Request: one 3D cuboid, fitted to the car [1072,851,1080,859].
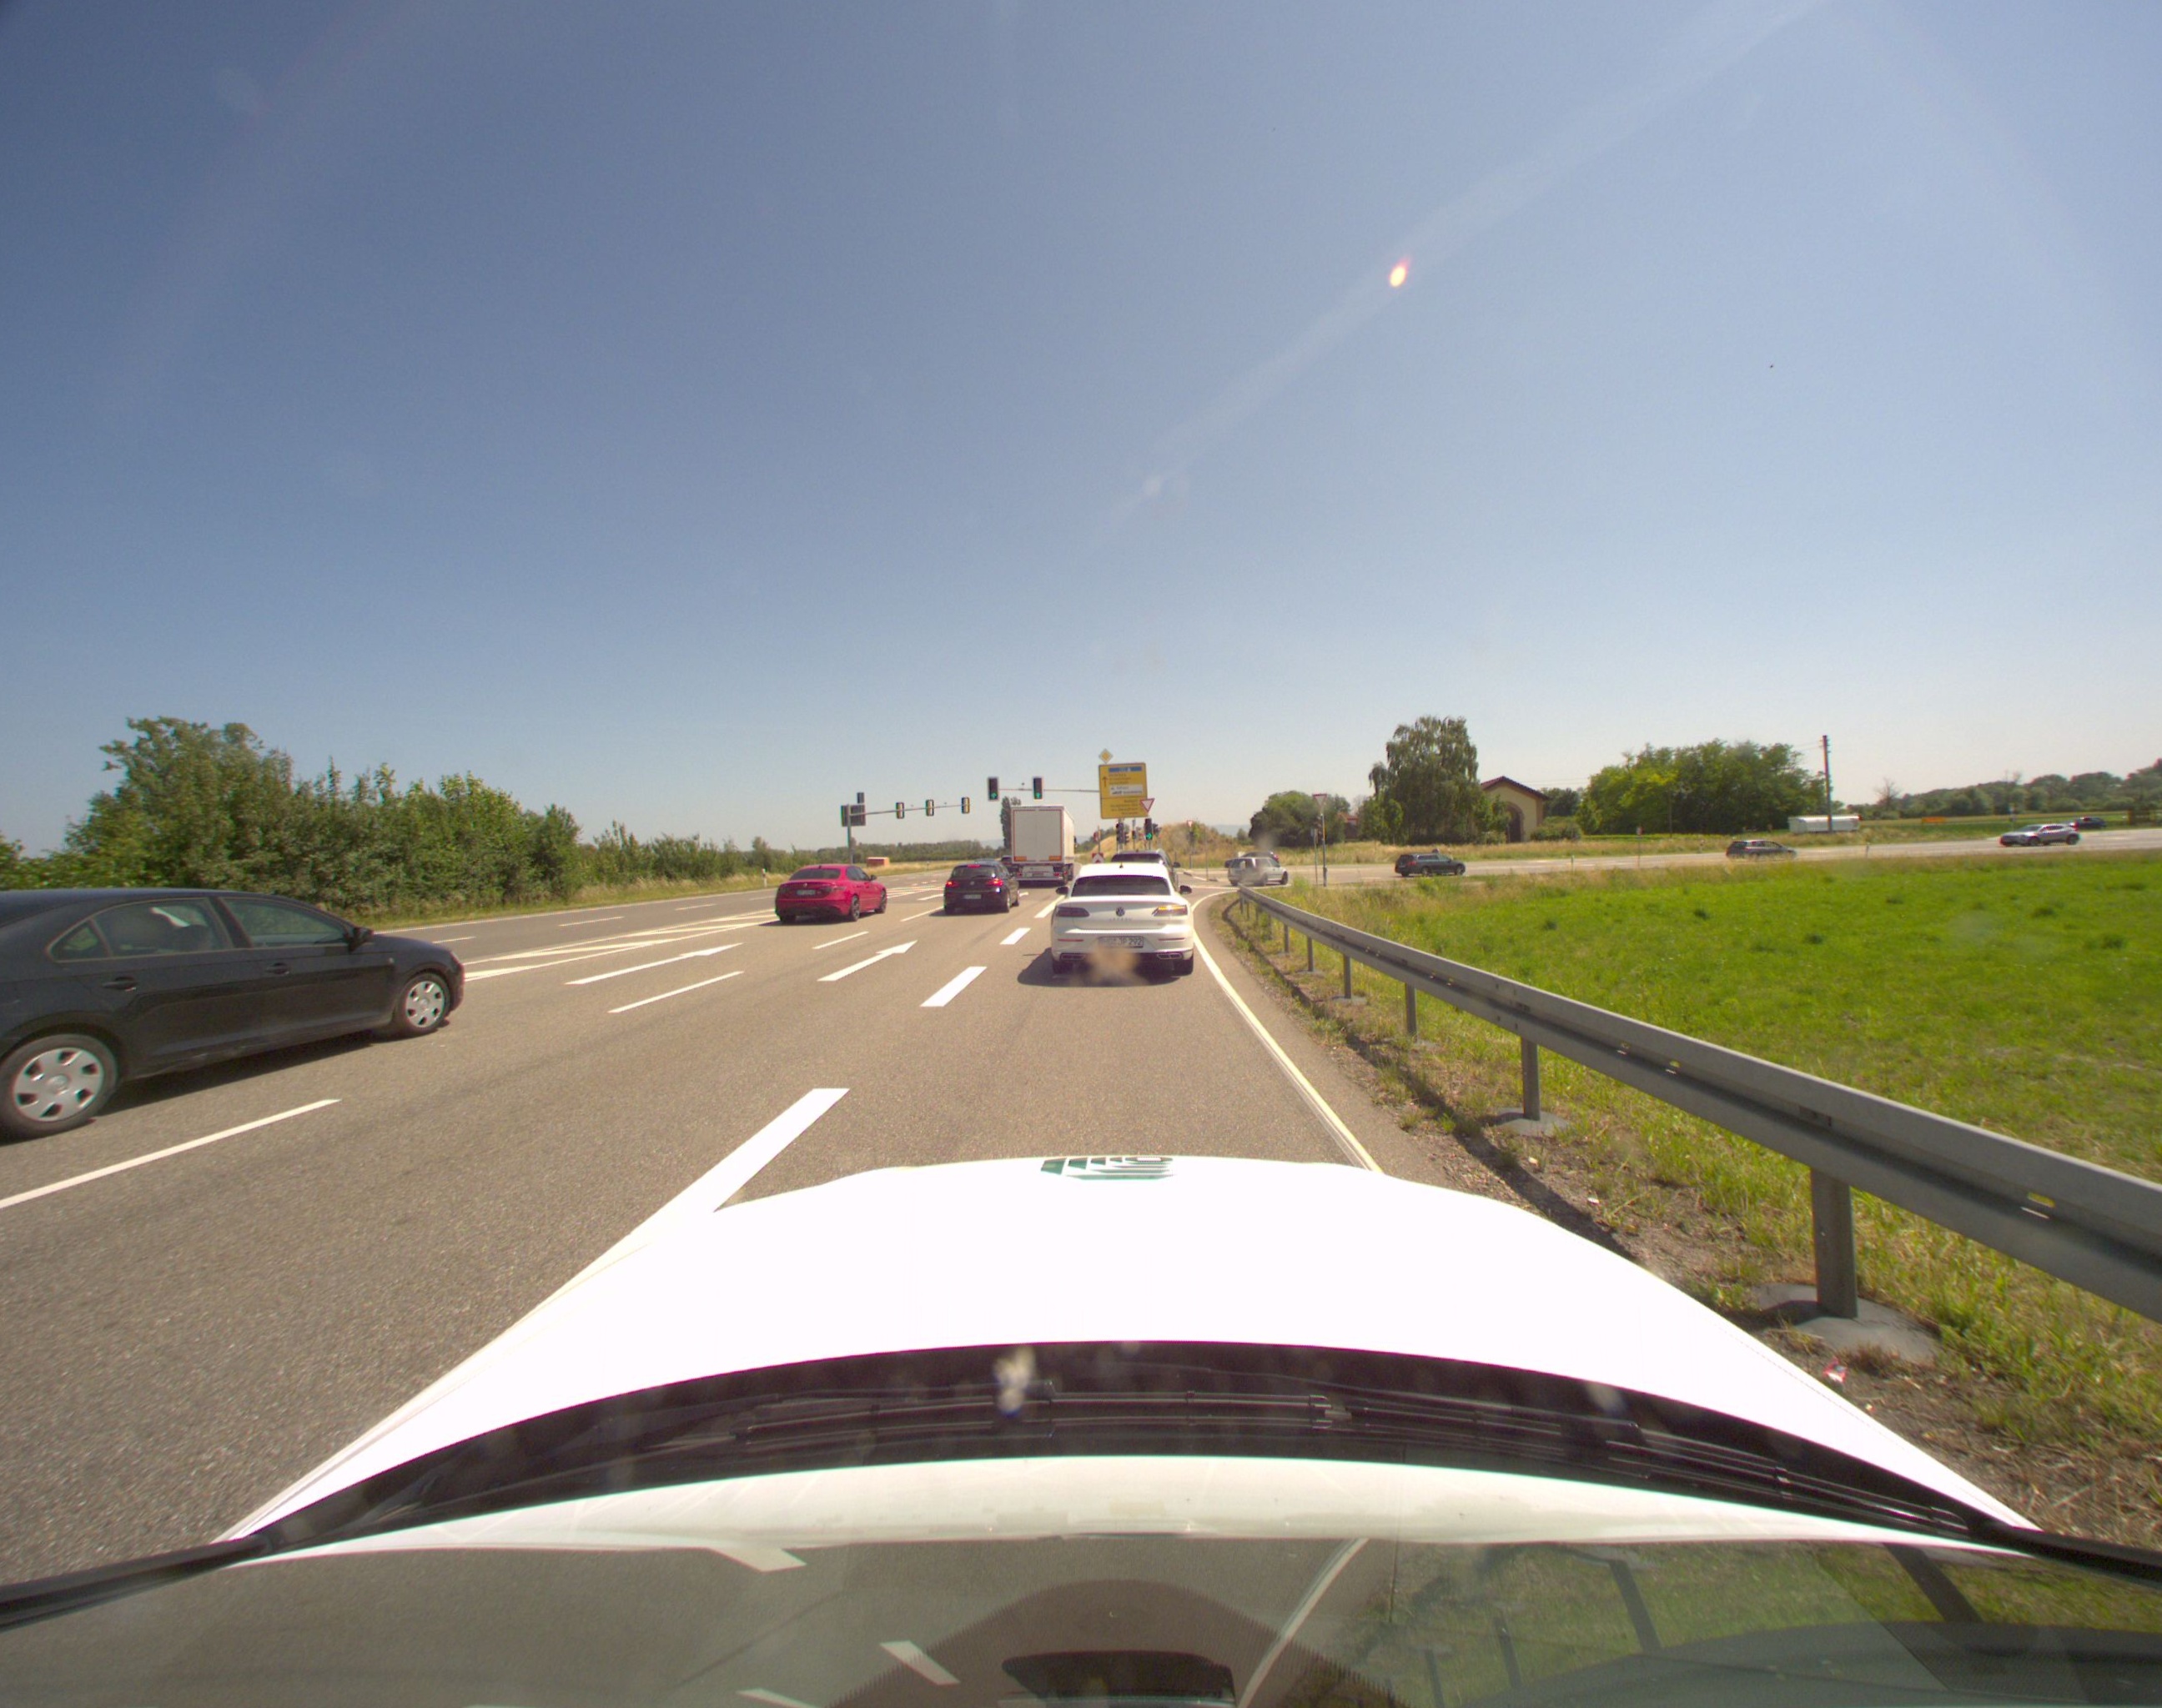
[{"bbox_3d":[-1.185,0.300,198.537,1.975,1.869,4.464,-1,-1,-2],"label":"car"}]

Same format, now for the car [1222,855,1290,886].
[{"bbox_3d":[8.752,0.780,40.519,1.782,1.429,4.119,-2,-1,36],"label":"car"}]

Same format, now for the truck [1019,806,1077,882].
[{"bbox_3d":[-2.003,-0.579,52.199,3.369,4.543,6.372,-1,0,1],"label":"truck"}]

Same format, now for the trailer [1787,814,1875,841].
[{"bbox_3d":[78.221,-2.723,85.025,6.330,2.455,2.691,-3,1,6],"label":"trailer"}]

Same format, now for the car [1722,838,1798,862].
[{"bbox_3d":[45.602,-0.261,54.730,3.865,1.522,1.801,-1,-1,-7],"label":"car"}]

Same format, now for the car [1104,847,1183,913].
[{"bbox_3d":[1.823,0.666,22.457,1.924,1.616,4.387,-1,-1,7],"label":"car"}]

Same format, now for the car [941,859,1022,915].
[{"bbox_3d":[-2.785,0.874,23.689,1.778,1.430,4.381,-1,0,1],"label":"car"}]

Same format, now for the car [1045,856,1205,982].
[{"bbox_3d":[0.594,0.782,11.793,1.841,1.433,4.610,-1,-1,2],"label":"car"}]

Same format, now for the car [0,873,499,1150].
[{"bbox_3d":[-6.792,0.935,6.027,1.669,1.411,4.468,-1,0,1],"label":"car"}]

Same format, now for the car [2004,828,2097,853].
[{"bbox_3d":[69.178,-0.994,58.158,4.523,1.543,1.871,-3,1,-1],"label":"car"}]

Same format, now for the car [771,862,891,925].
[{"bbox_3d":[-6.462,0.968,21.610,1.743,1.421,4.566,-1,0,0],"label":"car"}]

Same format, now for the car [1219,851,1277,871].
[{"bbox_3d":[13.122,0.528,64.076,4.240,1.368,1.778,-3,1,4],"label":"car"}]

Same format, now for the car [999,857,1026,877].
[{"bbox_3d":[-5.415,0.994,64.716,1.803,1.493,4.020,-1,0,0],"label":"car"}]

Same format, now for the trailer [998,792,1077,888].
[{"bbox_3d":[-2.133,-0.656,45.313,3.369,4.543,12.874,-1,0,1],"label":"trailer"}]

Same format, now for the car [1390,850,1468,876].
[{"bbox_3d":[21.240,0.555,49.724,4.417,1.476,1.793,-1,-1,-21],"label":"car"}]
